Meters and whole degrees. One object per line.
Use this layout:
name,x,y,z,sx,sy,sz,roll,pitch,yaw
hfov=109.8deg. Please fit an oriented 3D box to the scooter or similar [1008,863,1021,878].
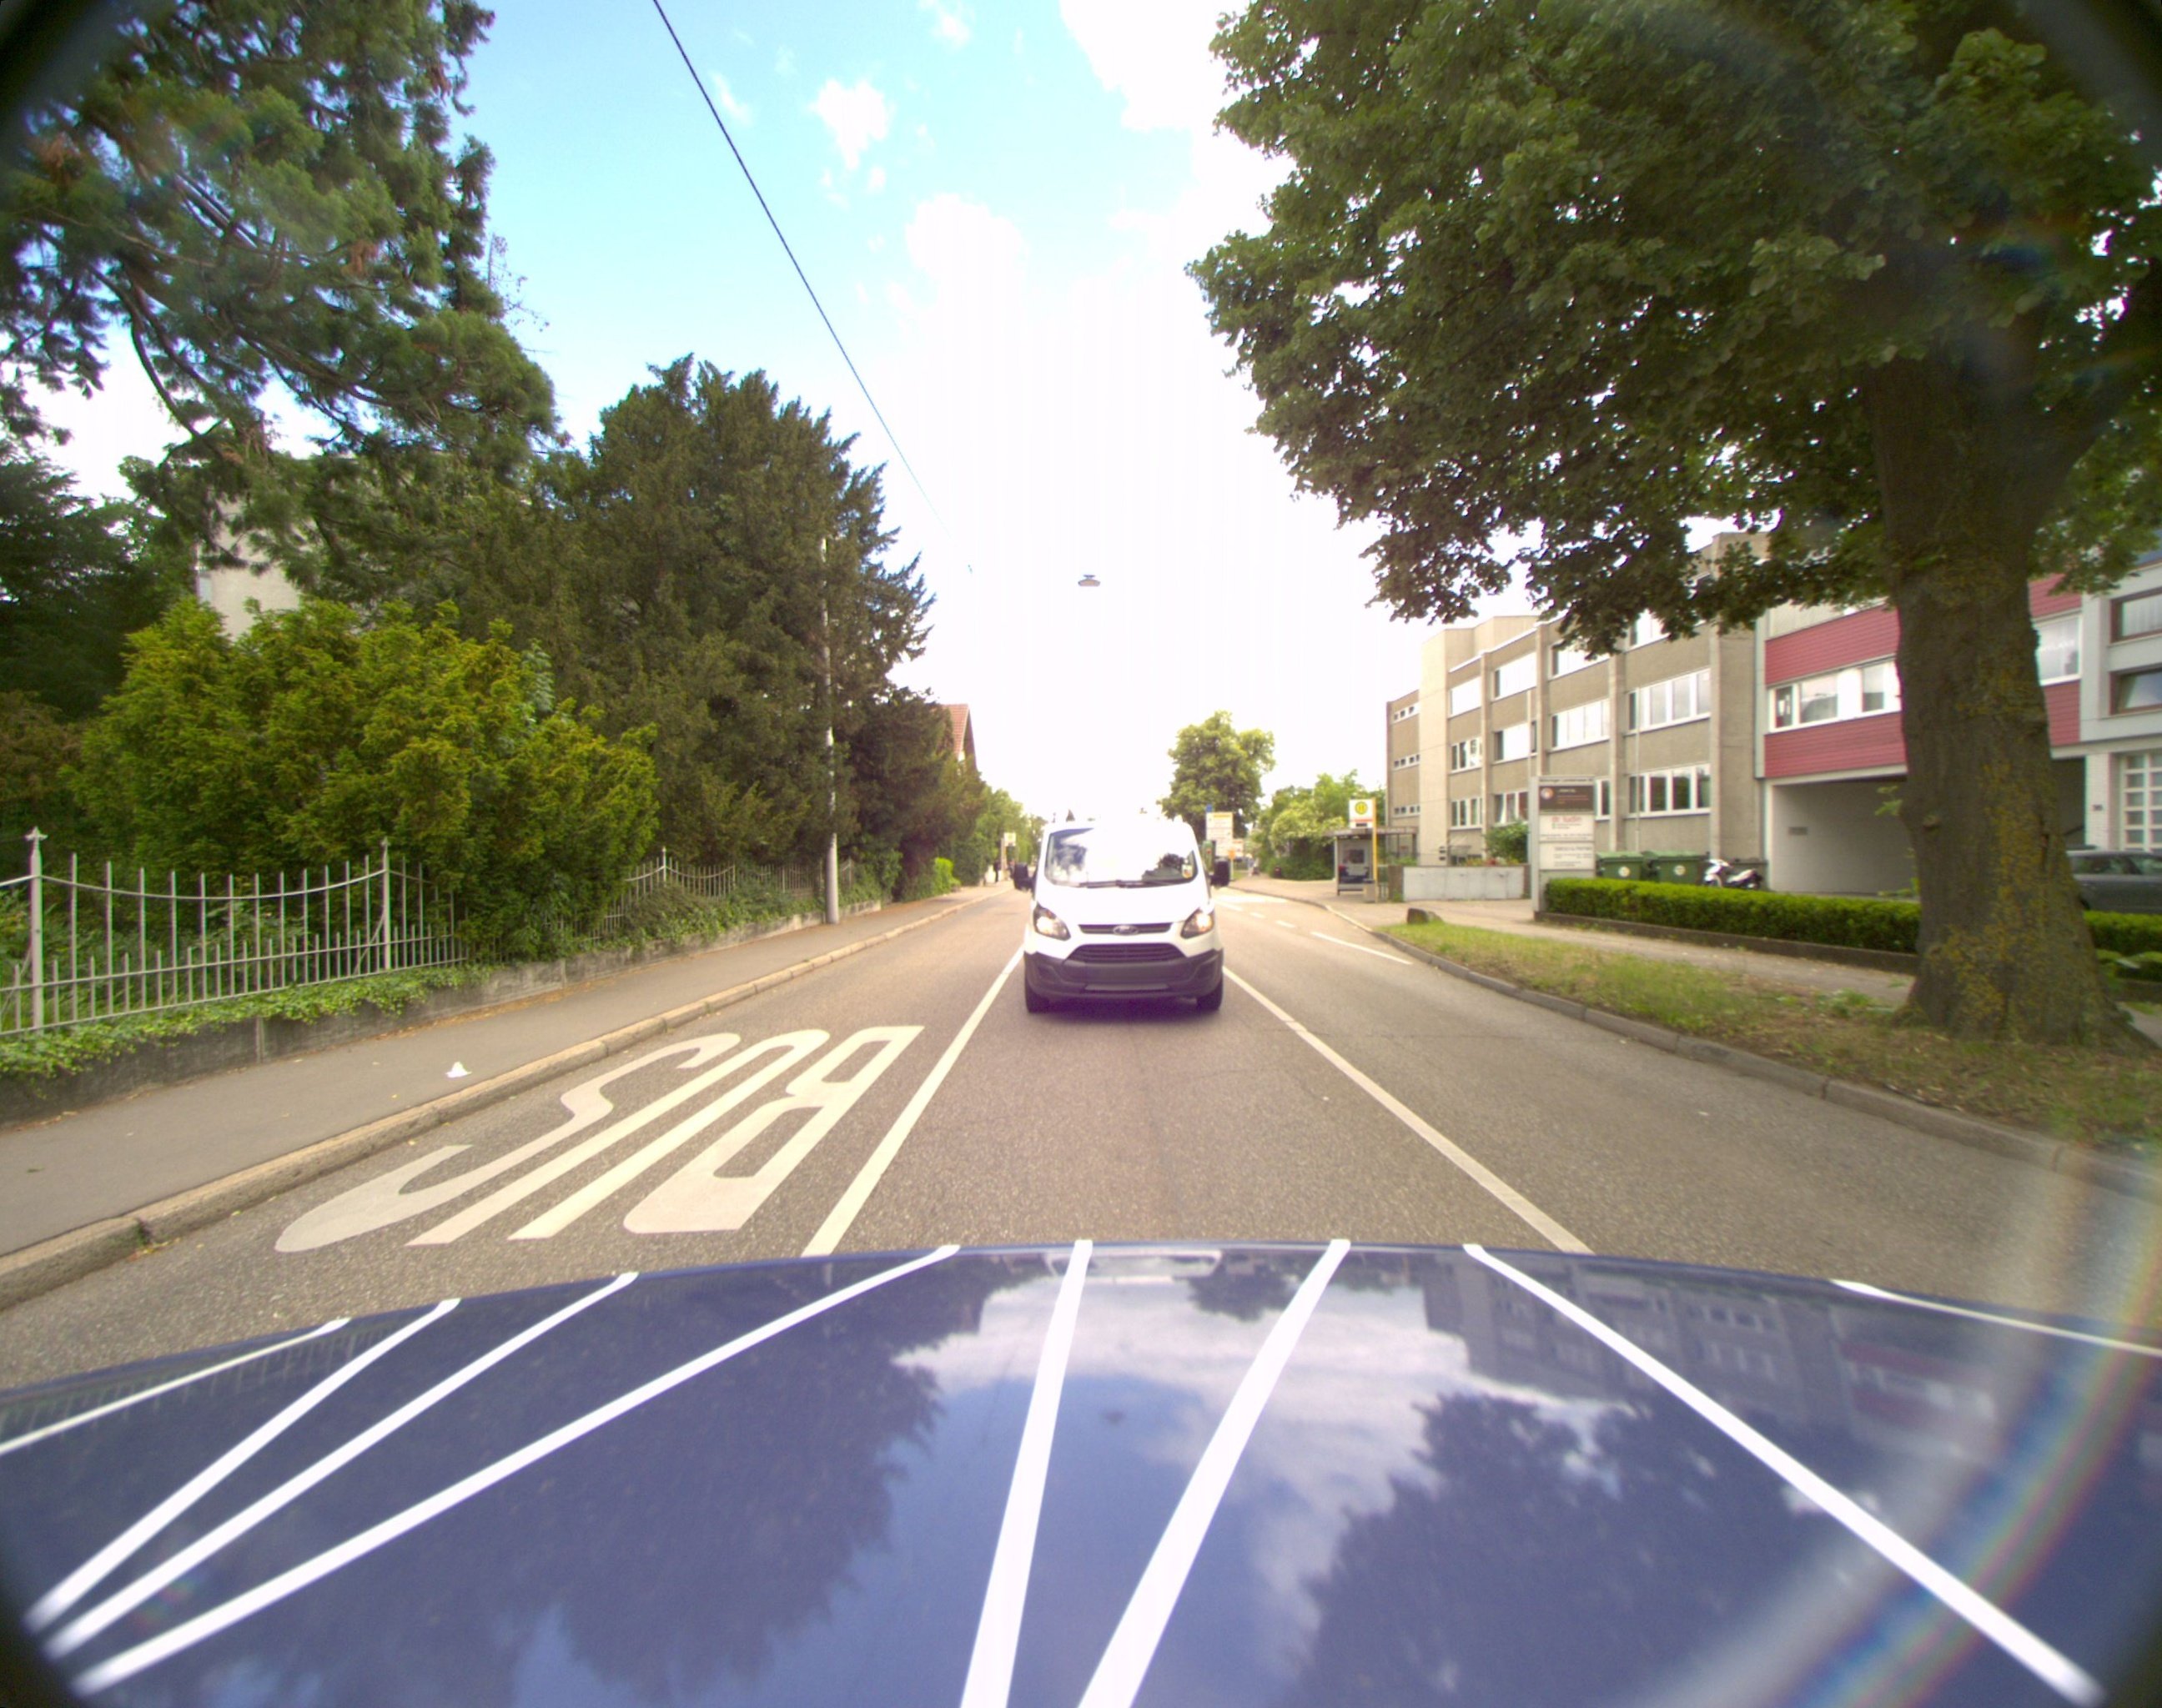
scooter or similar,-5.076,1.286,58.101,0.478,1.091,0.860,3,1,43

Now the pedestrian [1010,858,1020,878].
pedestrian,-5.112,1.095,58.950,0.661,1.526,0.748,2,1,-1

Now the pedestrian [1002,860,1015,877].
pedestrian,-5.437,1.109,57.087,0.916,1.244,0.789,2,1,-5

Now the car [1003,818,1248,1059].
car,0.343,0.685,9.237,1.999,1.961,5.714,-2,1,-1

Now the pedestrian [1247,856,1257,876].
pedestrian,13.544,0.965,60.145,0.672,1.549,0.520,-2,1,18

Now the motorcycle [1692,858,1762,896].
motorcycle,20.357,0.725,23.954,1.645,1.133,0.639,-2,1,1

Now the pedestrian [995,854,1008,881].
pedestrian,-5.295,0.919,50.543,0.489,1.757,0.672,-1,1,32

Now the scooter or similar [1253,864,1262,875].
scooter or similar,13.723,1.225,59.061,0.607,0.782,0.860,-2,1,17

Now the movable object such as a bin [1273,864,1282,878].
movable object such as a bin,13.501,1.155,52.260,0.566,0.922,0.608,-1,1,16

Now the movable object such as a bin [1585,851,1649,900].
movable object such as a bin,16.900,0.659,23.979,1.301,1.457,0.992,-2,1,1

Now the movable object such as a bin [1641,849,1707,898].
movable object such as a bin,18.634,0.598,23.901,1.365,1.457,0.885,-2,1,1

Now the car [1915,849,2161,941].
car,18.334,0.713,13.680,4.143,1.470,1.814,-2,1,15
